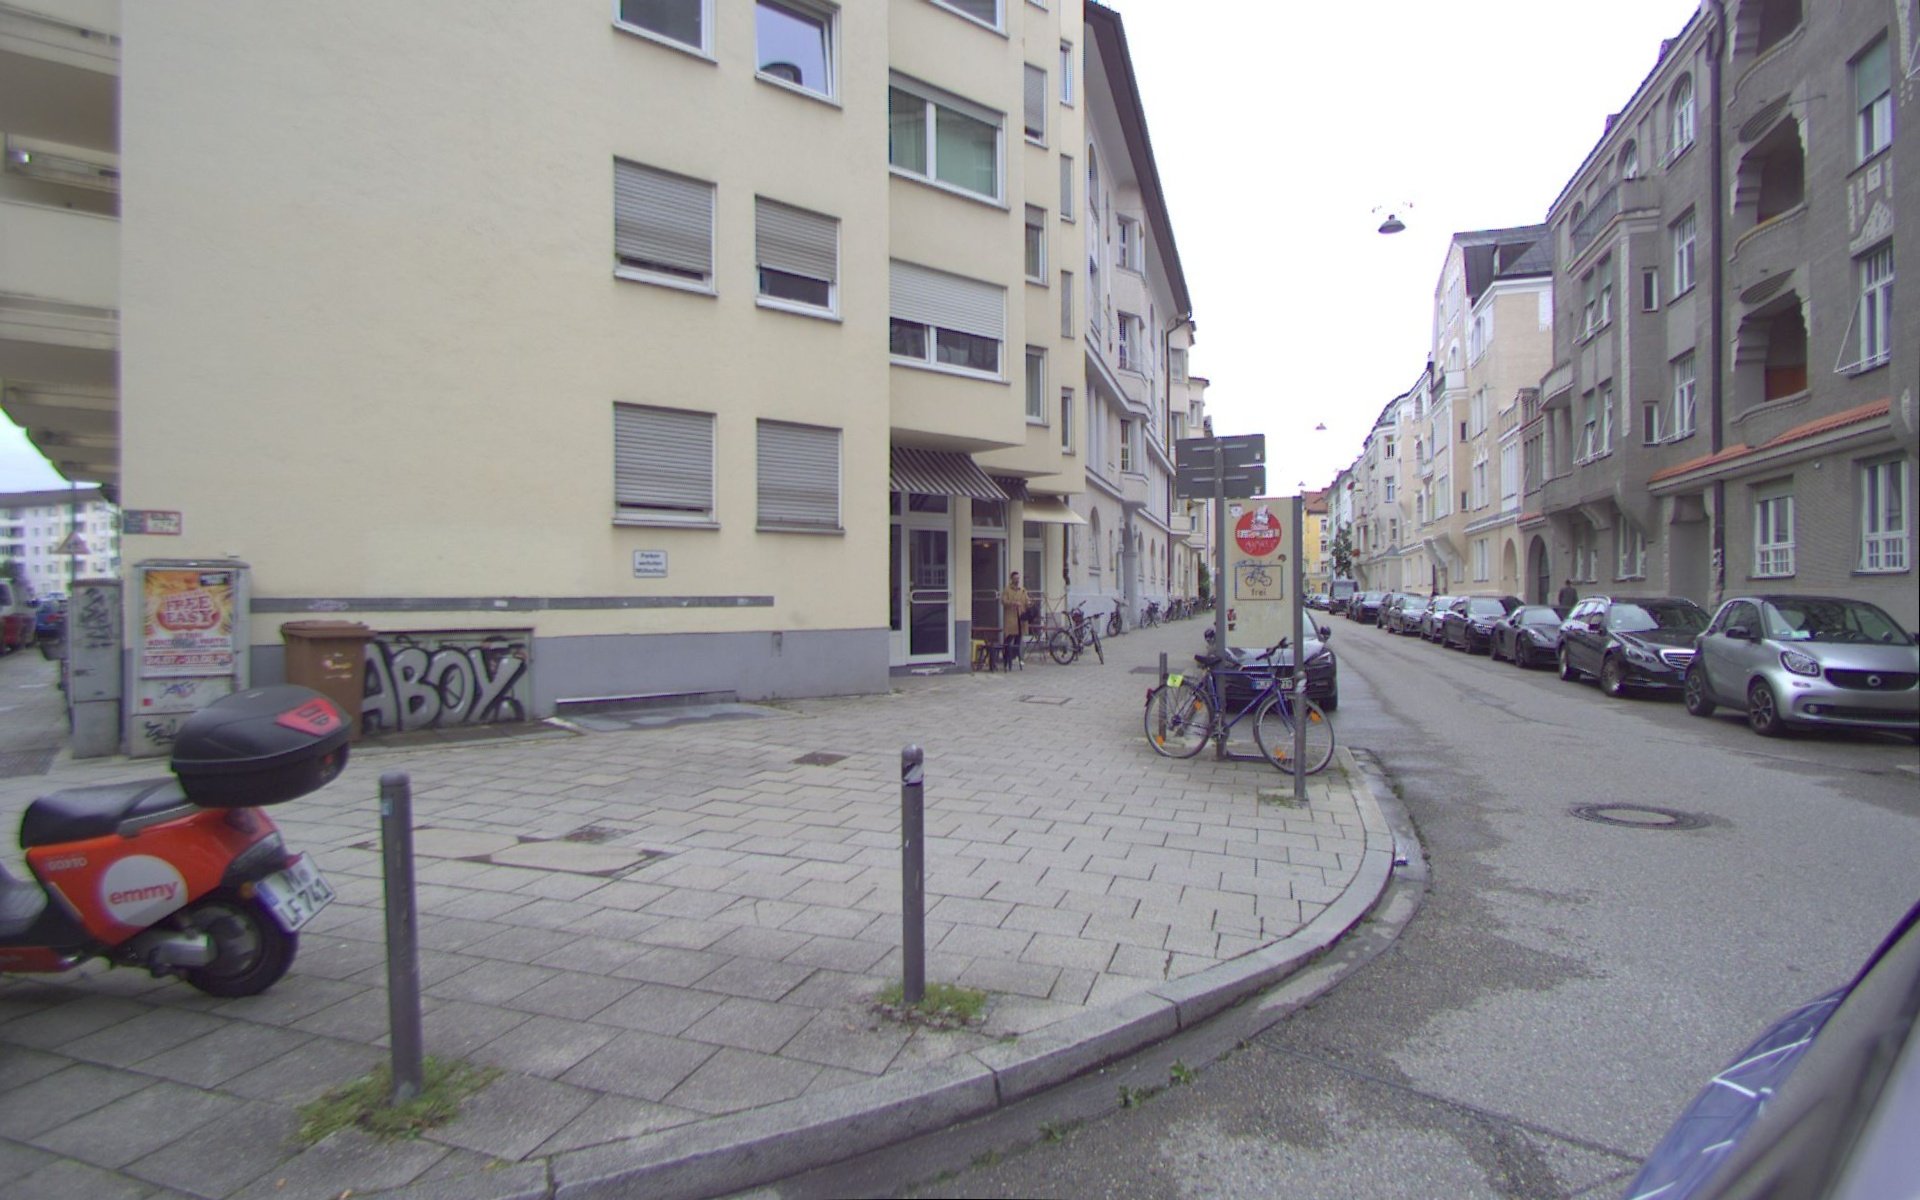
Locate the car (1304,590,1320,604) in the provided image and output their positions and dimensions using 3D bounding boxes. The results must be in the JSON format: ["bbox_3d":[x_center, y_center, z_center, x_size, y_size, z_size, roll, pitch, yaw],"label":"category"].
[{"bbox_3d":[43.546,-0.426,125.282,1.660,1.658,3.687,-1,0,15],"label":"car"}]

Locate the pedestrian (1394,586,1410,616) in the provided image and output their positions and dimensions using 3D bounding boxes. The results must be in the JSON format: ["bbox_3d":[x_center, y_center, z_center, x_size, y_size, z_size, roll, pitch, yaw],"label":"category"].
[{"bbox_3d":[27.066,0.076,61.989,0.826,1.812,0.737,-1,0,17],"label":"pedestrian"}]

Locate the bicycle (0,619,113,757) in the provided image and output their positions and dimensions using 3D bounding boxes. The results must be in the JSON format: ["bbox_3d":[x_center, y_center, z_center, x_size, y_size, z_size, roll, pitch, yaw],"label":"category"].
[{"bbox_3d":[-7.937,0.716,8.900,0.570,1.067,1.762,-1,0,-34],"label":"bicycle"}]

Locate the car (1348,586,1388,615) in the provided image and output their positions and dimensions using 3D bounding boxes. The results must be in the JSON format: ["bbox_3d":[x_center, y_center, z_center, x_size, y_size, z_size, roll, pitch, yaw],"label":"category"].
[{"bbox_3d":[24.838,0.016,61.713,1.853,1.669,4.436,-1,0,17],"label":"car"}]

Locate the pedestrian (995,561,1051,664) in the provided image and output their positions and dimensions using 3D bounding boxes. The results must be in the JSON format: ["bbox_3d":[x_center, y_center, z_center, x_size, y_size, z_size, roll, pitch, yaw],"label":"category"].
[{"bbox_3d":[1.183,0.225,19.186,0.726,1.871,1.018,3,-1,-11],"label":"pedestrian"}]

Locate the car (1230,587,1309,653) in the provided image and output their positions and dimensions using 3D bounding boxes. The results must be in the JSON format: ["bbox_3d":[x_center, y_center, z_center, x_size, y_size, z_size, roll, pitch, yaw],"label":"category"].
[{"bbox_3d":[7.807,0.463,25.803,1.614,1.556,3.840,-1,0,13],"label":"car"}]

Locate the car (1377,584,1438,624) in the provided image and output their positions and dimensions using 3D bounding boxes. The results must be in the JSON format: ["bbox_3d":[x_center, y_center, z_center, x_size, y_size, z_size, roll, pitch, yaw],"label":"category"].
[{"bbox_3d":[18.958,0.153,42.997,1.783,1.592,3.795,-1,0,15],"label":"car"}]

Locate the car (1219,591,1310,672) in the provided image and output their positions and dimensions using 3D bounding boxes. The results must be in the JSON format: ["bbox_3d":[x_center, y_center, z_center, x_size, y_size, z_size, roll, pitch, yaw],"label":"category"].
[{"bbox_3d":[6.204,0.580,20.869,1.615,1.490,3.837,-1,0,15],"label":"car"}]

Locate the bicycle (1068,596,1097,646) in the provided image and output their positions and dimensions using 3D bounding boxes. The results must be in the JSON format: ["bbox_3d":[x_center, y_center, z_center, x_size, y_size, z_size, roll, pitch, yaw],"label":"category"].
[{"bbox_3d":[3.125,0.508,25.787,0.556,1.207,1.671,2,1,12],"label":"bicycle"}]

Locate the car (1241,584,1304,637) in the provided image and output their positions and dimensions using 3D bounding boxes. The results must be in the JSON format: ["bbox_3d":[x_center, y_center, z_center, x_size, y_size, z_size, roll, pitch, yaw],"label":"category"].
[{"bbox_3d":[11.199,0.341,36.241,1.973,1.710,4.648,-2,0,17],"label":"car"}]

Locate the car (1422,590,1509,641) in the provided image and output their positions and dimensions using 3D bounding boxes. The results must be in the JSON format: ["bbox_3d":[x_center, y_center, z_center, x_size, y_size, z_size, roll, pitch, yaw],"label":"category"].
[{"bbox_3d":[15.784,0.434,31.810,1.788,1.449,4.413,1,1,18],"label":"car"}]

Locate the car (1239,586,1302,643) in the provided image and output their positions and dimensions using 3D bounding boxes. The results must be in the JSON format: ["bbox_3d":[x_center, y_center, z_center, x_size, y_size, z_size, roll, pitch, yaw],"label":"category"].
[{"bbox_3d":[9.364,0.404,30.761,1.615,1.612,3.950,-1,0,15],"label":"car"}]

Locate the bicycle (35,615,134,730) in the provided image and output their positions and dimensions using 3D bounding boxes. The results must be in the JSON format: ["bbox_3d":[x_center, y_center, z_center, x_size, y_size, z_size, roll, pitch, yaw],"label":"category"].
[{"bbox_3d":[-9.089,0.705,10.558,0.570,1.067,1.763,-1,0,-34],"label":"bicycle"}]

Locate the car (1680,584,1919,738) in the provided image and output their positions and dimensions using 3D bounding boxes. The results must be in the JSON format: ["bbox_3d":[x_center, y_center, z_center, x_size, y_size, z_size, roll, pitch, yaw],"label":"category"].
[{"bbox_3d":[9.823,0.601,11.647,1.687,1.534,2.894,1,1,18],"label":"car"}]

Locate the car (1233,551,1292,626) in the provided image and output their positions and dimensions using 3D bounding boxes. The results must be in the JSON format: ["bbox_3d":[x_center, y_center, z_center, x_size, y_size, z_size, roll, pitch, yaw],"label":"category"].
[{"bbox_3d":[13.215,-0.525,44.344,2.230,2.996,6.101,-2,1,16],"label":"car"}]

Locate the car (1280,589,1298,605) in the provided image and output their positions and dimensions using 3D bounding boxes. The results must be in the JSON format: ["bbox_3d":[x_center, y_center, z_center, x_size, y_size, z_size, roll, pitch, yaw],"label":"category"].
[{"bbox_3d":[40.789,-0.390,125.539,1.972,1.821,3.981,-1,0,15],"label":"car"}]

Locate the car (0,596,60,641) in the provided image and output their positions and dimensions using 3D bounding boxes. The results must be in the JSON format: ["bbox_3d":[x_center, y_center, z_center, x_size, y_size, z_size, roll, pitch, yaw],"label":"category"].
[{"bbox_3d":[-32.301,0.607,34.928,1.584,1.452,3.616,-1,0,-38],"label":"car"}]

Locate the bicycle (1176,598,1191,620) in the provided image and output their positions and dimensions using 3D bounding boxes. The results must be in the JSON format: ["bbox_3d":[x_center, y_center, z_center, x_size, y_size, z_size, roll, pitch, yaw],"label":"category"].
[{"bbox_3d":[12.018,0.485,54.334,0.634,1.131,1.957,-1,0,17],"label":"bicycle"}]

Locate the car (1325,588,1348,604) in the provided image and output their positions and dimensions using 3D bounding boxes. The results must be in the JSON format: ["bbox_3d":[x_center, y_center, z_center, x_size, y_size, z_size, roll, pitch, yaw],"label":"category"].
[{"bbox_3d":[34.437,-0.390,92.612,1.661,1.416,3.685,-1,0,17],"label":"car"}]

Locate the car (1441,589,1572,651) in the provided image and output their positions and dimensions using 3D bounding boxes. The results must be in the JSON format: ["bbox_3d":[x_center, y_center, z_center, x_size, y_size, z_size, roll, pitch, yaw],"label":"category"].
[{"bbox_3d":[14.155,0.447,26.503,1.972,1.466,4.756,0,1,15],"label":"car"}]

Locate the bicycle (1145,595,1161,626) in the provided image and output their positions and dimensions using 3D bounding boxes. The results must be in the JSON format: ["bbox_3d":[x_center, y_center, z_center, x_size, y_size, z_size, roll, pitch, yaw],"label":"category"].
[{"bbox_3d":[7.640,0.414,40.072,0.476,1.165,1.780,2,1,14],"label":"bicycle"}]

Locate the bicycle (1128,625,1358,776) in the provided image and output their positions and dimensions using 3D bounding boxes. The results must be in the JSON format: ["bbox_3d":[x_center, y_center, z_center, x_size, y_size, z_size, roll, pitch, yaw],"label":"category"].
[{"bbox_3d":[2.379,0.796,8.665,1.792,1.099,0.655,1,-1,45],"label":"bicycle"}]

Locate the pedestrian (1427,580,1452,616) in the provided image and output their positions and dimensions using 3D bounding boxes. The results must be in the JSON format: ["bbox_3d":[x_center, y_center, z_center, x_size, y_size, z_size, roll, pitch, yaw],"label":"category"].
[{"bbox_3d":[23.549,-0.107,49.717,0.982,1.750,0.934,-1,0,17],"label":"pedestrian"}]

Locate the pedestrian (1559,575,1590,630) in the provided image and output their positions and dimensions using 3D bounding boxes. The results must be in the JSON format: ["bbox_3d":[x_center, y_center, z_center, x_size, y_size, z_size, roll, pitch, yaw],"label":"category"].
[{"bbox_3d":[20.848,0.068,34.349,0.709,1.840,0.727,-1,0,17],"label":"pedestrian"}]

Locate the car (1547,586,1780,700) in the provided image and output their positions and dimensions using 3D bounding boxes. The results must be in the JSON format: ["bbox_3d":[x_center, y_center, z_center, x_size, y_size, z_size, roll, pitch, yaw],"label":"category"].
[{"bbox_3d":[10.948,0.562,16.168,1.737,1.534,4.680,0,0,18],"label":"car"}]

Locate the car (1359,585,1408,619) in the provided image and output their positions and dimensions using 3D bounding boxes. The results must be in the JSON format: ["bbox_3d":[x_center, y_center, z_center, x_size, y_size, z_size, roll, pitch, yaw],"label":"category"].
[{"bbox_3d":[21.768,0.081,52.198,1.931,1.679,4.591,0,0,18],"label":"car"}]

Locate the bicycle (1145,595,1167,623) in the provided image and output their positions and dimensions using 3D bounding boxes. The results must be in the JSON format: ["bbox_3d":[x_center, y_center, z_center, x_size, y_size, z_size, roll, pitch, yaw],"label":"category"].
[{"bbox_3d":[8.209,0.368,42.353,0.478,1.165,1.772,-1,0,25],"label":"bicycle"}]

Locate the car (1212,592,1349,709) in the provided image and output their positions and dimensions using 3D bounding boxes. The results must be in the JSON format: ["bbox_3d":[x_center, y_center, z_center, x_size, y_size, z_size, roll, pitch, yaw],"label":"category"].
[{"bbox_3d":[4.737,0.641,15.388,1.674,1.490,4.590,-1,0,15],"label":"car"}]

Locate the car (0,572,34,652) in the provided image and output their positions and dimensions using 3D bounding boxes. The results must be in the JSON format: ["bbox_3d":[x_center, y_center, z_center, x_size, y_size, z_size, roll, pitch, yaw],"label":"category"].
[{"bbox_3d":[-25.840,0.326,26.639,1.842,1.992,4.811,-1,0,-39],"label":"car"}]

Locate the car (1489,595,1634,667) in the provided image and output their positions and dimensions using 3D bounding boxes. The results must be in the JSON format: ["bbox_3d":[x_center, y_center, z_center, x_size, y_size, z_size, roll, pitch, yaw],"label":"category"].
[{"bbox_3d":[12.556,0.583,21.405,1.737,1.348,4.073,0,0,18],"label":"car"}]

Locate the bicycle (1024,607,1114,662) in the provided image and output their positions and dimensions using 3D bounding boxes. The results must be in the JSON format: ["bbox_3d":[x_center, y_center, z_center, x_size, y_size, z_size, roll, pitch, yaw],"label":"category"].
[{"bbox_3d":[2.196,0.671,20.286,1.766,1.045,0.753,0,1,-38],"label":"bicycle"}]

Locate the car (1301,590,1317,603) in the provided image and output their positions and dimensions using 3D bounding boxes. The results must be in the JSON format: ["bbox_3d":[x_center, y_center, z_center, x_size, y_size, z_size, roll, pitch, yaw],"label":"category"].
[{"bbox_3d":[46.708,-0.467,135.524,1.660,1.658,3.687,-1,0,15],"label":"car"}]

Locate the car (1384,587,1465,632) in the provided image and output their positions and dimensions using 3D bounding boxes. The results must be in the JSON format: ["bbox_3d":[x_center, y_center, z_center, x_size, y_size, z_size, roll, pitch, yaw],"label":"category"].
[{"bbox_3d":[16.998,0.308,37.237,1.815,1.532,4.590,0,0,13],"label":"car"}]

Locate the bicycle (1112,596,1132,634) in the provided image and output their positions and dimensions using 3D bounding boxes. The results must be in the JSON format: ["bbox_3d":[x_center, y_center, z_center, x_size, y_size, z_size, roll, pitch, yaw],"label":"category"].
[{"bbox_3d":[5.182,0.465,32.310,0.476,1.165,1.780,-1,0,14],"label":"bicycle"}]

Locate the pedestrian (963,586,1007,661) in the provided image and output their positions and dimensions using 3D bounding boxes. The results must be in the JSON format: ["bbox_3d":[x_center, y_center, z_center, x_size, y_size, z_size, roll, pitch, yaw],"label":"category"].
[{"bbox_3d":[0.484,0.439,19.552,0.661,1.416,0.532,-1,0,-40],"label":"pedestrian"}]

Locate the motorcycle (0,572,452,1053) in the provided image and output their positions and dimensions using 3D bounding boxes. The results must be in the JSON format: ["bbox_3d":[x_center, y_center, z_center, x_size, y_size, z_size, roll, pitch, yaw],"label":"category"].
[{"bbox_3d":[-2.910,0.622,3.328,2.043,1.373,0.818,-1,0,-5],"label":"motorcycle"}]

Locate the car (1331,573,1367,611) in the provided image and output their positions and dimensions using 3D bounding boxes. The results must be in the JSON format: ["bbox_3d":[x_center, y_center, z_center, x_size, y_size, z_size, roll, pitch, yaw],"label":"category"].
[{"bbox_3d":[28.512,-0.620,74.319,2.078,2.654,5.646,1,1,18],"label":"car"}]
